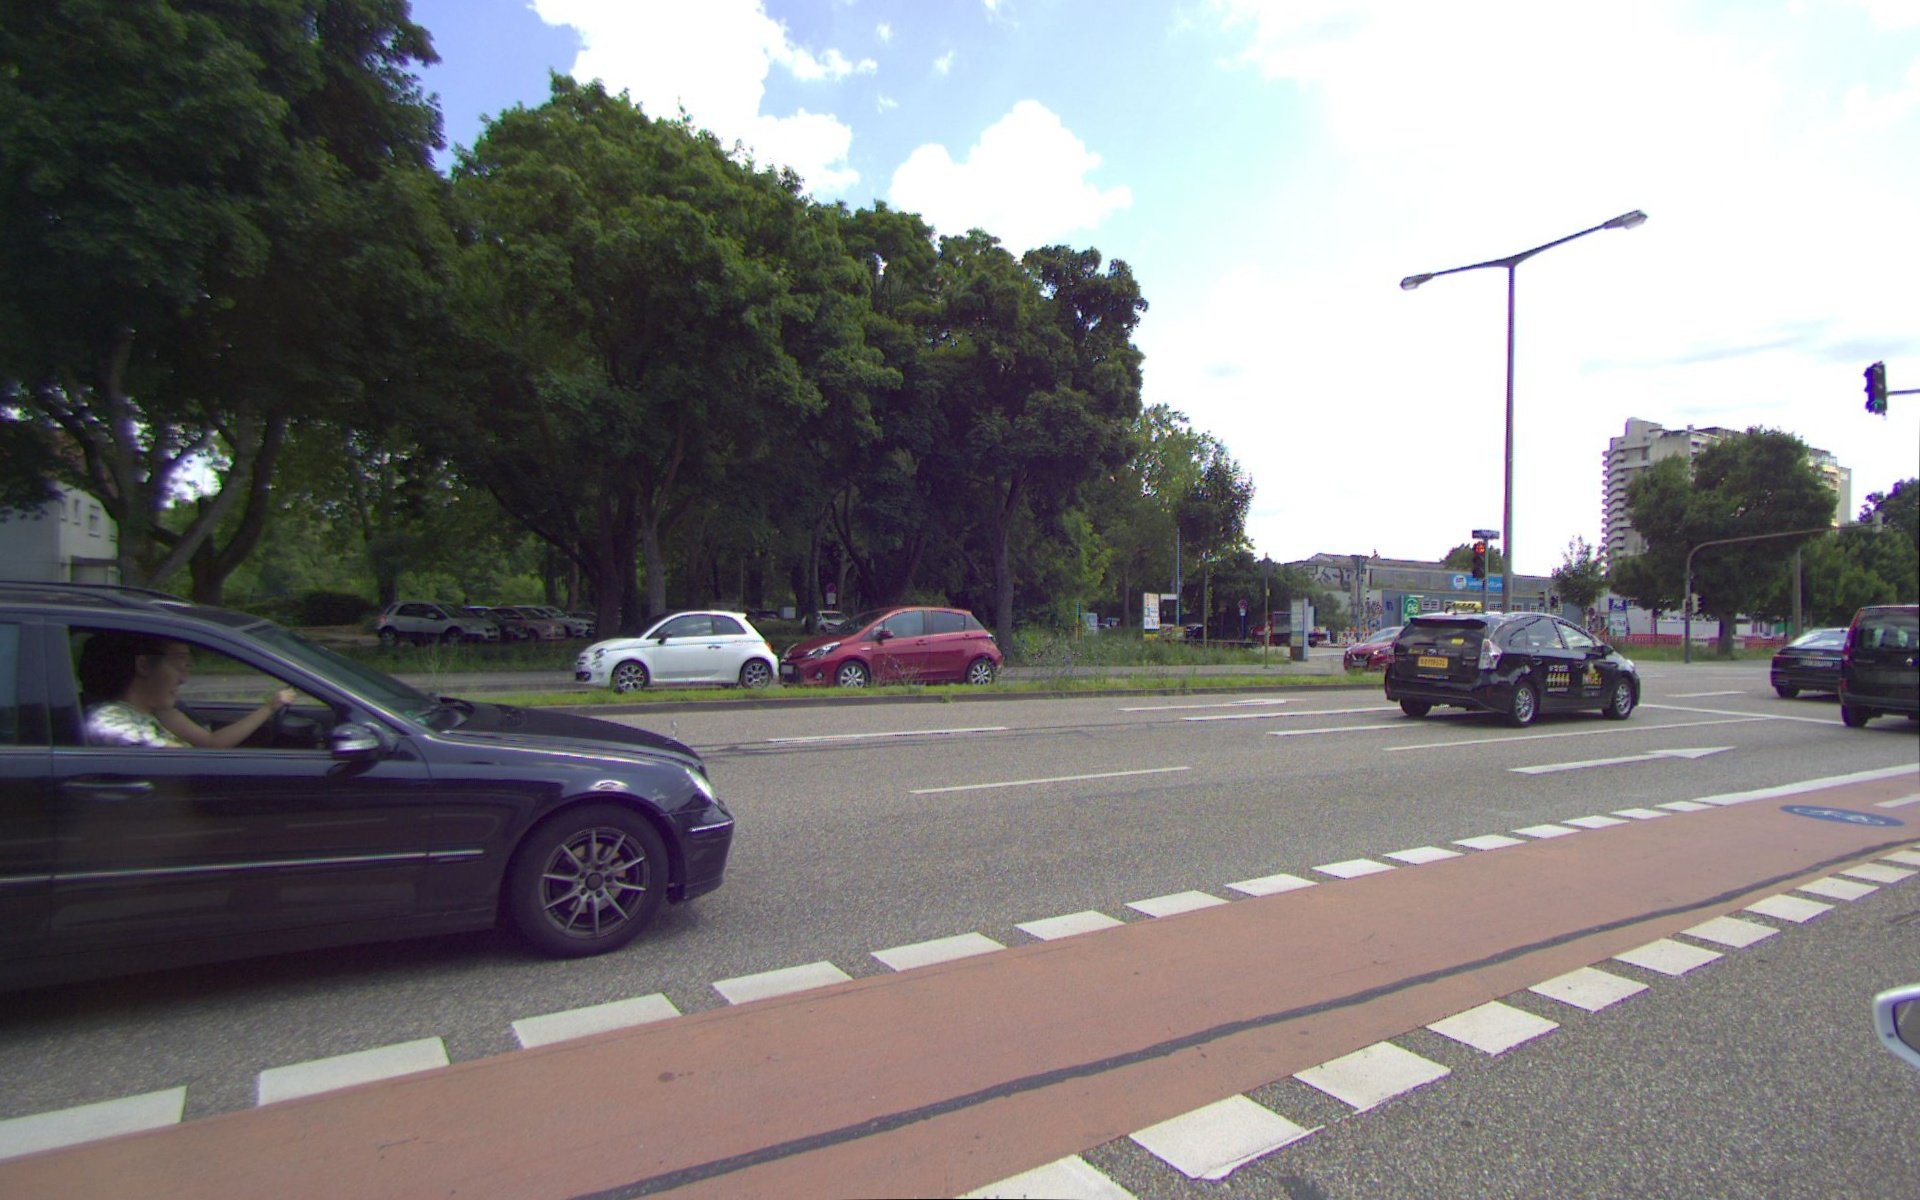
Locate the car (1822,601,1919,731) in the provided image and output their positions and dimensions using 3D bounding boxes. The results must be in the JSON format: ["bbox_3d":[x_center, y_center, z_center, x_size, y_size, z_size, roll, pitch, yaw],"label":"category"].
[{"bbox_3d":[14.913,0.977,15.220,3.866,1.801,1.750,2,0,-32],"label":"car"}]

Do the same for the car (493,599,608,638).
[{"bbox_3d":[-17.078,0.780,41.960,3.941,1.565,2.001,1,-1,6],"label":"car"}]

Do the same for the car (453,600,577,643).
[{"bbox_3d":[-17.443,0.861,39.477,3.942,1.608,2.001,-1,-1,6],"label":"car"}]

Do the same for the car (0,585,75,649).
[{"bbox_3d":[-26.260,0.417,26.496,4.331,1.679,1.790,2,0,-42],"label":"car"}]

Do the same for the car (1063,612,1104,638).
[{"bbox_3d":[9.108,1.812,74.214,1.904,1.817,3.611,2,0,-13],"label":"car"}]

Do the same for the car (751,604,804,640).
[{"bbox_3d":[-9.372,1.108,51.272,2.014,1.748,4.559,1,-1,-19],"label":"car"}]

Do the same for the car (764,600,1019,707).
[{"bbox_3d":[-1.150,0.880,17.392,3.956,1.639,1.983,1,-1,-32],"label":"car"}]

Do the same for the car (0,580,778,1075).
[{"bbox_3d":[-3.107,0.685,3.907,4.385,1.485,1.745,2,0,-32],"label":"car"}]

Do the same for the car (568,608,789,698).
[{"bbox_3d":[-5.100,0.941,18.339,3.556,1.464,1.602,2,0,-34],"label":"car"}]

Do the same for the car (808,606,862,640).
[{"bbox_3d":[-6.706,1.230,53.564,2.044,1.748,4.111,1,-1,-19],"label":"car"}]

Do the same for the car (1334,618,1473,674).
[{"bbox_3d":[13.254,1.356,30.003,3.955,1.532,1.877,2,0,-32],"label":"car"}]

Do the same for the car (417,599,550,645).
[{"bbox_3d":[-17.518,0.798,37.044,3.941,1.608,2.001,1,-1,6],"label":"car"}]

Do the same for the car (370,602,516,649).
[{"bbox_3d":[-17.658,0.860,34.412,3.941,1.503,2.001,1,-1,6],"label":"car"}]

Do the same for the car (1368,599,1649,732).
[{"bbox_3d":[8.145,0.904,14.811,4.293,1.690,1.775,2,0,-33],"label":"car"}]

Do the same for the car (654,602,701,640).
[{"bbox_3d":[-13.742,0.996,48.725,1.793,1.750,4.106,1,-1,-22],"label":"car"}]

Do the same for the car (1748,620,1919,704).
[{"bbox_3d":[18.209,1.230,20.751,3.957,1.524,1.853,2,0,-33],"label":"car"}]

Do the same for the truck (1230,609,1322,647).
[{"bbox_3d":[21.649,1.918,69.257,2.987,2.472,6.970,1,-1,-12],"label":"truck"}]
